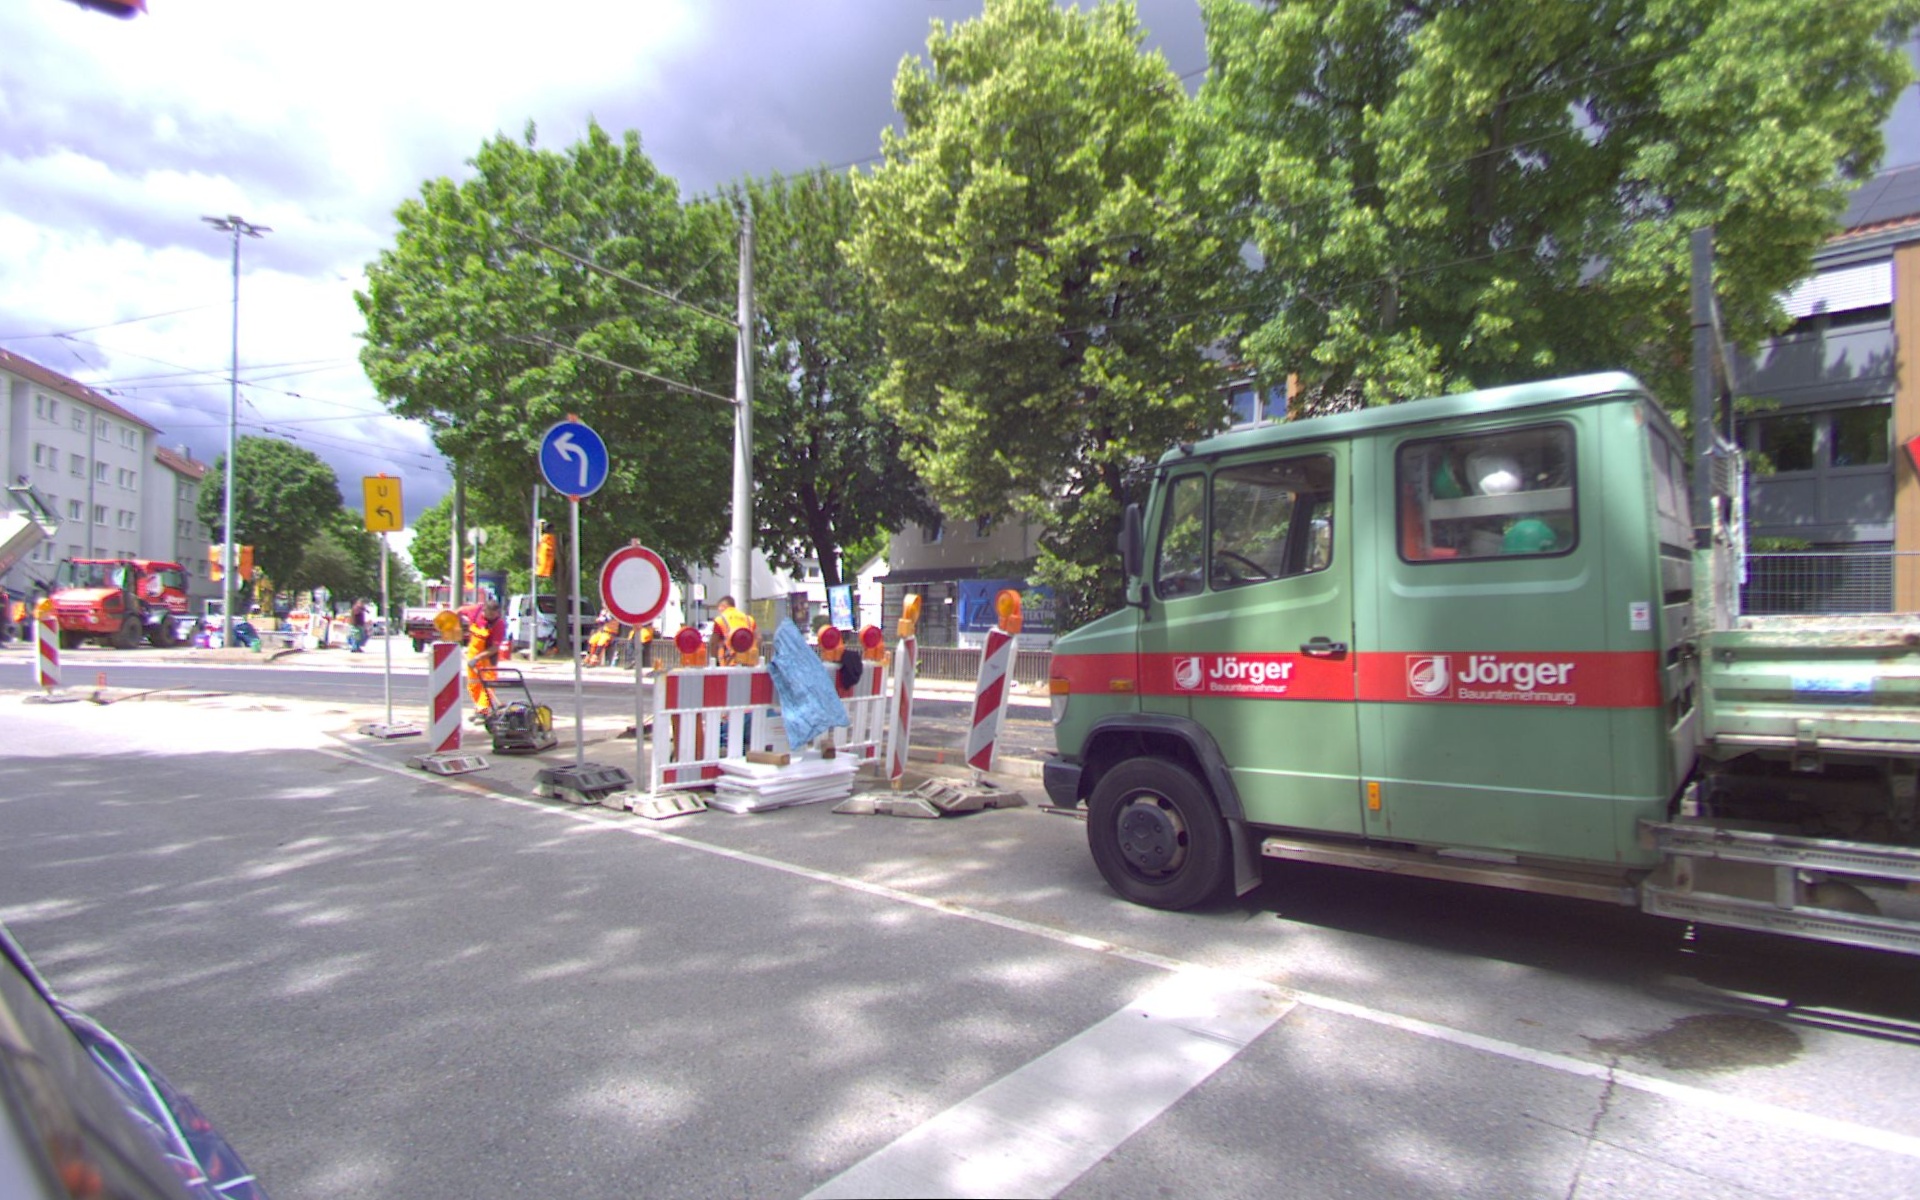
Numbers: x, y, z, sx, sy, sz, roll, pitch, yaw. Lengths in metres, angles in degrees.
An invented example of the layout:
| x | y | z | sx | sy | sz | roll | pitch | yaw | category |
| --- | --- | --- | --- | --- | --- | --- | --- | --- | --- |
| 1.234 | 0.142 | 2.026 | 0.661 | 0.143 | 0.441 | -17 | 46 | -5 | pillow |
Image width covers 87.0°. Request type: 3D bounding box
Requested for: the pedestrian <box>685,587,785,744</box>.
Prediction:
| x | y | z | sx | sy | sz | roll | pitch | yaw | category |
| --- | --- | --- | --- | --- | --- | --- | --- | --- | --- |
| -2.546 | 0.710 | 11.474 | 0.822 | 1.680 | 0.702 | 2 | 0 | 20 | pedestrian |

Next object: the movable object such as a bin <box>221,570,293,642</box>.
| x | y | z | sx | sy | sz | roll | pitch | yaw | category |
| --- | --- | --- | --- | --- | --- | --- | --- | --- | --- |
| -46.982 | 0.476 | 67.838 | 2.777 | 4.570 | 6.229 | 1 | -2 | -24 | movable object such as a bin |

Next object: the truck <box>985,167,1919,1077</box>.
| x | y | z | sx | sy | sz | roll | pitch | yaw | category |
| --- | --- | --- | --- | --- | --- | --- | --- | --- | --- |
| 3.406 | 0.066 | 4.365 | 6.393 | 2.746 | 2.634 | -1 | 0 | 41 | truck |

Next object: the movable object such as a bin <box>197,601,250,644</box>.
| x | y | z | sx | sy | sz | roll | pitch | yaw | category |
| --- | --- | --- | --- | --- | --- | --- | --- | --- | --- |
| -43.298 | 1.360 | 59.611 | 1.965 | 2.428 | 4.012 | 1 | -2 | -29 | movable object such as a bin |

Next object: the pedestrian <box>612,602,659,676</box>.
| x | y | z | sx | sy | sz | roll | pitch | yaw | category |
| --- | --- | --- | --- | --- | --- | --- | --- | --- | --- |
| -7.051 | 0.836 | 21.949 | 0.827 | 1.544 | 0.911 | 1 | -2 | -26 | pedestrian |

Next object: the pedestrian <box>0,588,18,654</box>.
| x | y | z | sx | sy | sz | roll | pitch | yaw | category |
| --- | --- | --- | --- | --- | --- | --- | --- | --- | --- |
| -27.457 | 0.593 | 28.631 | 0.963 | 1.846 | 0.792 | 1 | 0 | 16 | pedestrian |

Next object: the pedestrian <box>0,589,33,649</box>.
| x | y | z | sx | sy | sz | roll | pitch | yaw | category |
| --- | --- | --- | --- | --- | --- | --- | --- | --- | --- |
| -28.876 | 0.585 | 30.930 | 0.602 | 1.802 | 0.583 | -1 | -1 | -17 | pedestrian |

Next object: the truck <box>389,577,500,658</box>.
| x | y | z | sx | sy | sz | roll | pitch | yaw | category |
| --- | --- | --- | --- | --- | --- | --- | --- | --- | --- |
| -17.815 | 0.632 | 35.323 | 2.378 | 2.588 | 5.599 | 1 | -1 | -16 | truck |

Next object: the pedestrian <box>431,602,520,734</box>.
| x | y | z | sx | sy | sz | roll | pitch | yaw | category |
| --- | --- | --- | --- | --- | --- | --- | --- | --- | --- |
| -6.011 | 0.811 | 12.595 | 0.885 | 1.563 | 0.767 | -1 | 0 | -18 | pedestrian |

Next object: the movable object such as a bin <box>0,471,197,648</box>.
| x | y | z | sx | sy | sz | roll | pitch | yaw | category |
| --- | --- | --- | --- | --- | --- | --- | --- | --- | --- |
| -31.112 | -1.183 | 34.303 | 2.788 | 5.527 | 9.015 | 0 | -2 | 7 | movable object such as a bin |

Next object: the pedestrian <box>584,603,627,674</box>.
| x | y | z | sx | sy | sz | roll | pitch | yaw | category |
| --- | --- | --- | --- | --- | --- | --- | --- | --- | --- |
| -7.891 | 0.849 | 22.517 | 0.784 | 1.553 | 0.765 | 1 | -2 | -26 | pedestrian |

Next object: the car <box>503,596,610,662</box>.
| x | y | z | sx | sy | sz | roll | pitch | yaw | category |
| --- | --- | --- | --- | --- | --- | --- | --- | --- | --- |
| -12.819 | 0.914 | 31.927 | 1.967 | 1.901 | 5.263 | 1 | -2 | -35 | car |

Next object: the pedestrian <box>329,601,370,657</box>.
| x | y | z | sx | sy | sz | roll | pitch | yaw | category |
| --- | --- | --- | --- | --- | --- | --- | --- | --- | --- |
| -18.812 | 0.884 | 31.197 | 0.860 | 1.672 | 0.931 | 0 | -1 | -15 | pedestrian |

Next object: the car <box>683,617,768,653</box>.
| x | y | z | sx | sy | sz | roll | pitch | yaw | category |
| --- | --- | --- | --- | --- | --- | --- | --- | --- | --- |
| -9.896 | 1.470 | 42.750 | 3.150 | 1.466 | 1.568 | 2 | -2 | -34 | car |

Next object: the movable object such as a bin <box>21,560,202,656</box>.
| x | y | z | sx | sy | sz | roll | pitch | yaw | category |
| --- | --- | --- | --- | --- | --- | --- | --- | --- | --- |
| -25.965 | 0.262 | 31.286 | 2.080 | 2.689 | 5.603 | 1 | -1 | -15 | movable object such as a bin |

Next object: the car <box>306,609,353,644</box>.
| x | y | z | sx | sy | sz | roll | pitch | yaw | category |
| --- | --- | --- | --- | --- | --- | --- | --- | --- | --- |
| -38.655 | 1.645 | 62.125 | 1.965 | 2.029 | 5.927 | 1 | -2 | -28 | car |
